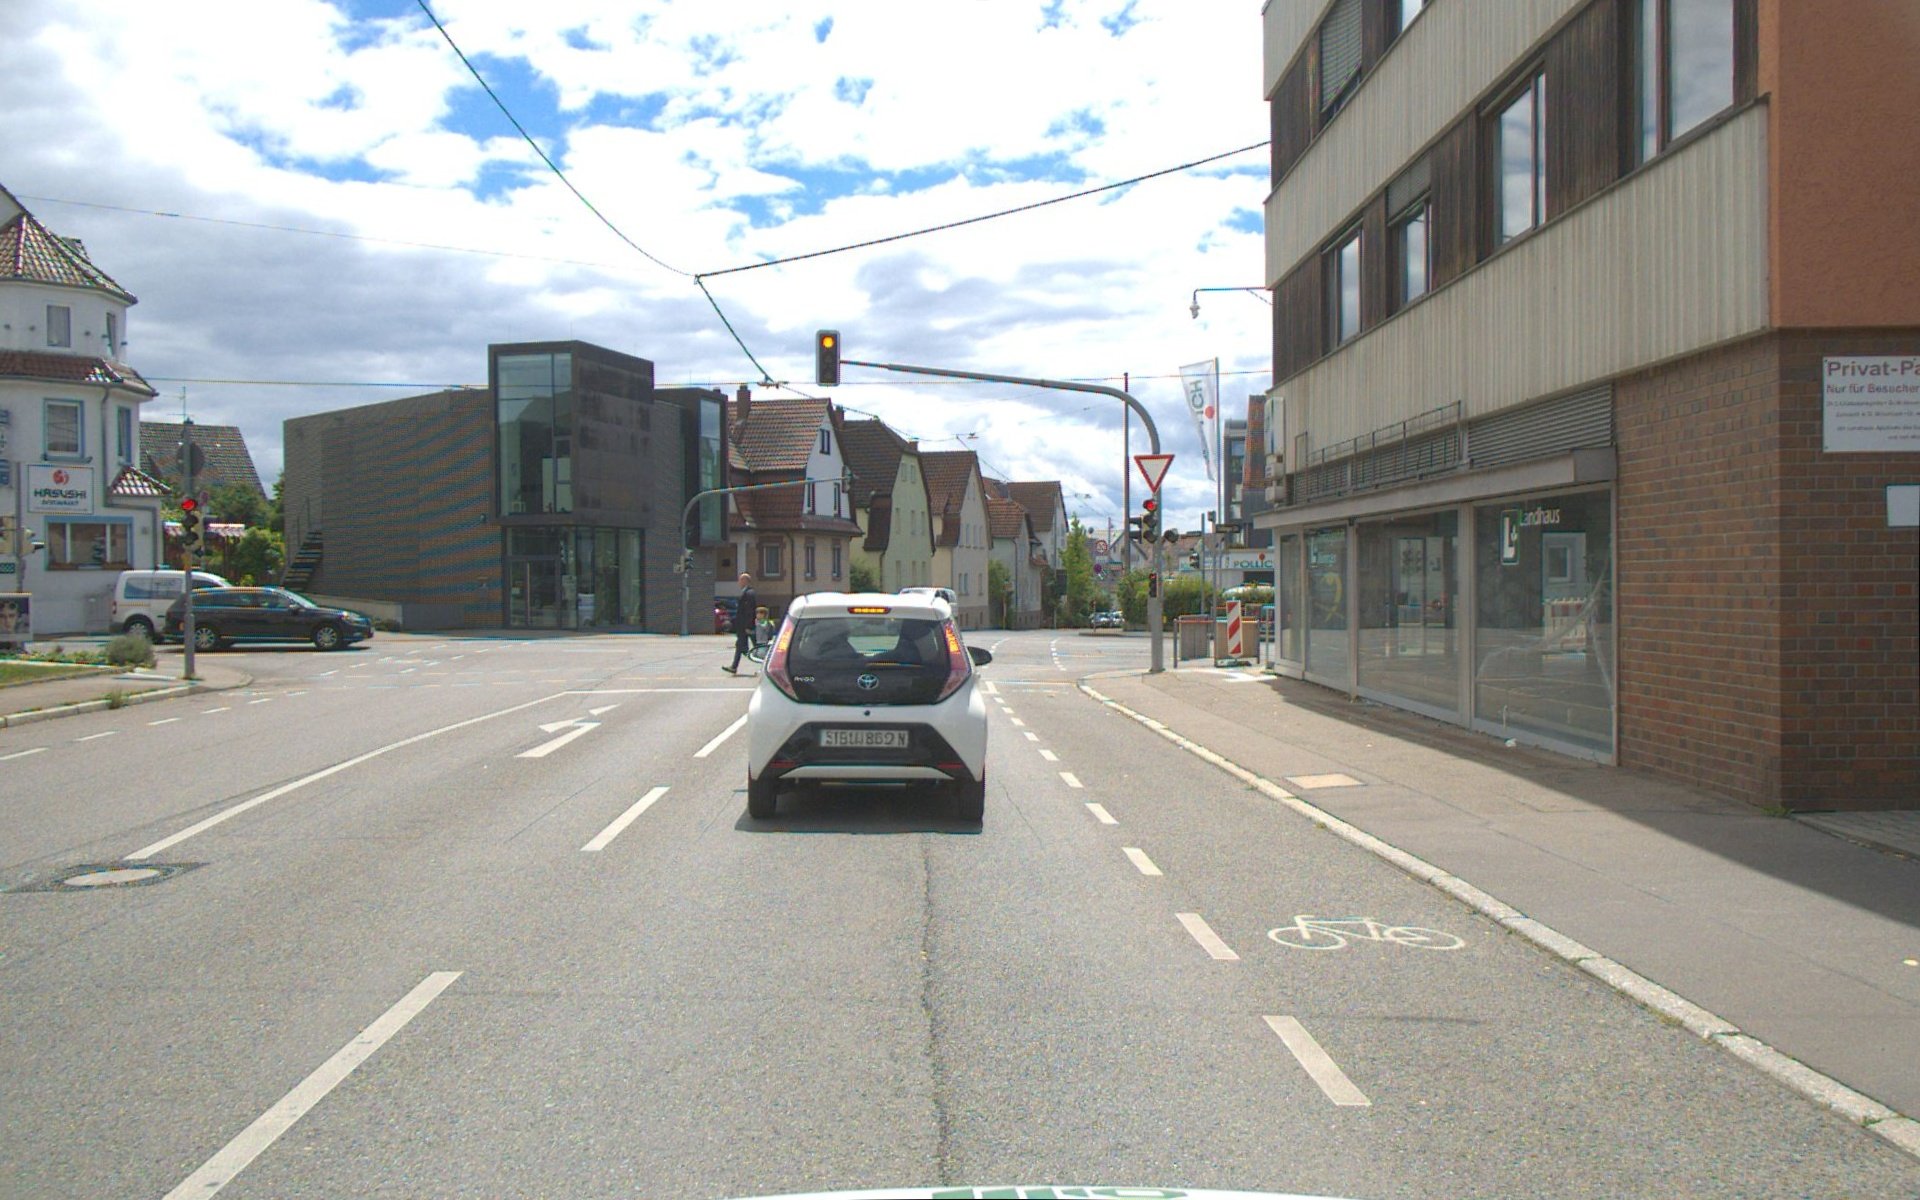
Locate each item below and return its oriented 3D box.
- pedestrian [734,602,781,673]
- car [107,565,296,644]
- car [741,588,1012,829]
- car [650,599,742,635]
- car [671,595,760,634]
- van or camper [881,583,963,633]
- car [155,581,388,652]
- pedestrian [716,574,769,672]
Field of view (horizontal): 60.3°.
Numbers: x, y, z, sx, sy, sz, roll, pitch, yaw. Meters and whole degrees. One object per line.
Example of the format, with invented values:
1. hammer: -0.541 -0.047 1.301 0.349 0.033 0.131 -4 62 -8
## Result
1. pedestrian: -3.610 0.655 29.449 0.722 1.243 0.642 0 0 -20
2. car: -19.305 0.118 42.270 3.989 1.881 1.994 1 0 -13
3. car: -0.603 0.678 12.003 1.663 1.482 3.297 1 0 -3
4. car: -11.425 0.725 71.641 3.537 1.444 1.693 1 0 10
5. car: -10.914 0.639 73.930 3.537 1.633 1.693 1 0 10
6. van or camper: -1.507 0.316 68.677 2.070 1.959 5.289 1 0 14
7. car: -16.505 0.389 39.859 4.806 1.605 1.996 1 0 -9
8. pedestrian: -3.962 0.414 30.093 0.810 1.751 0.812 0 0 -21
